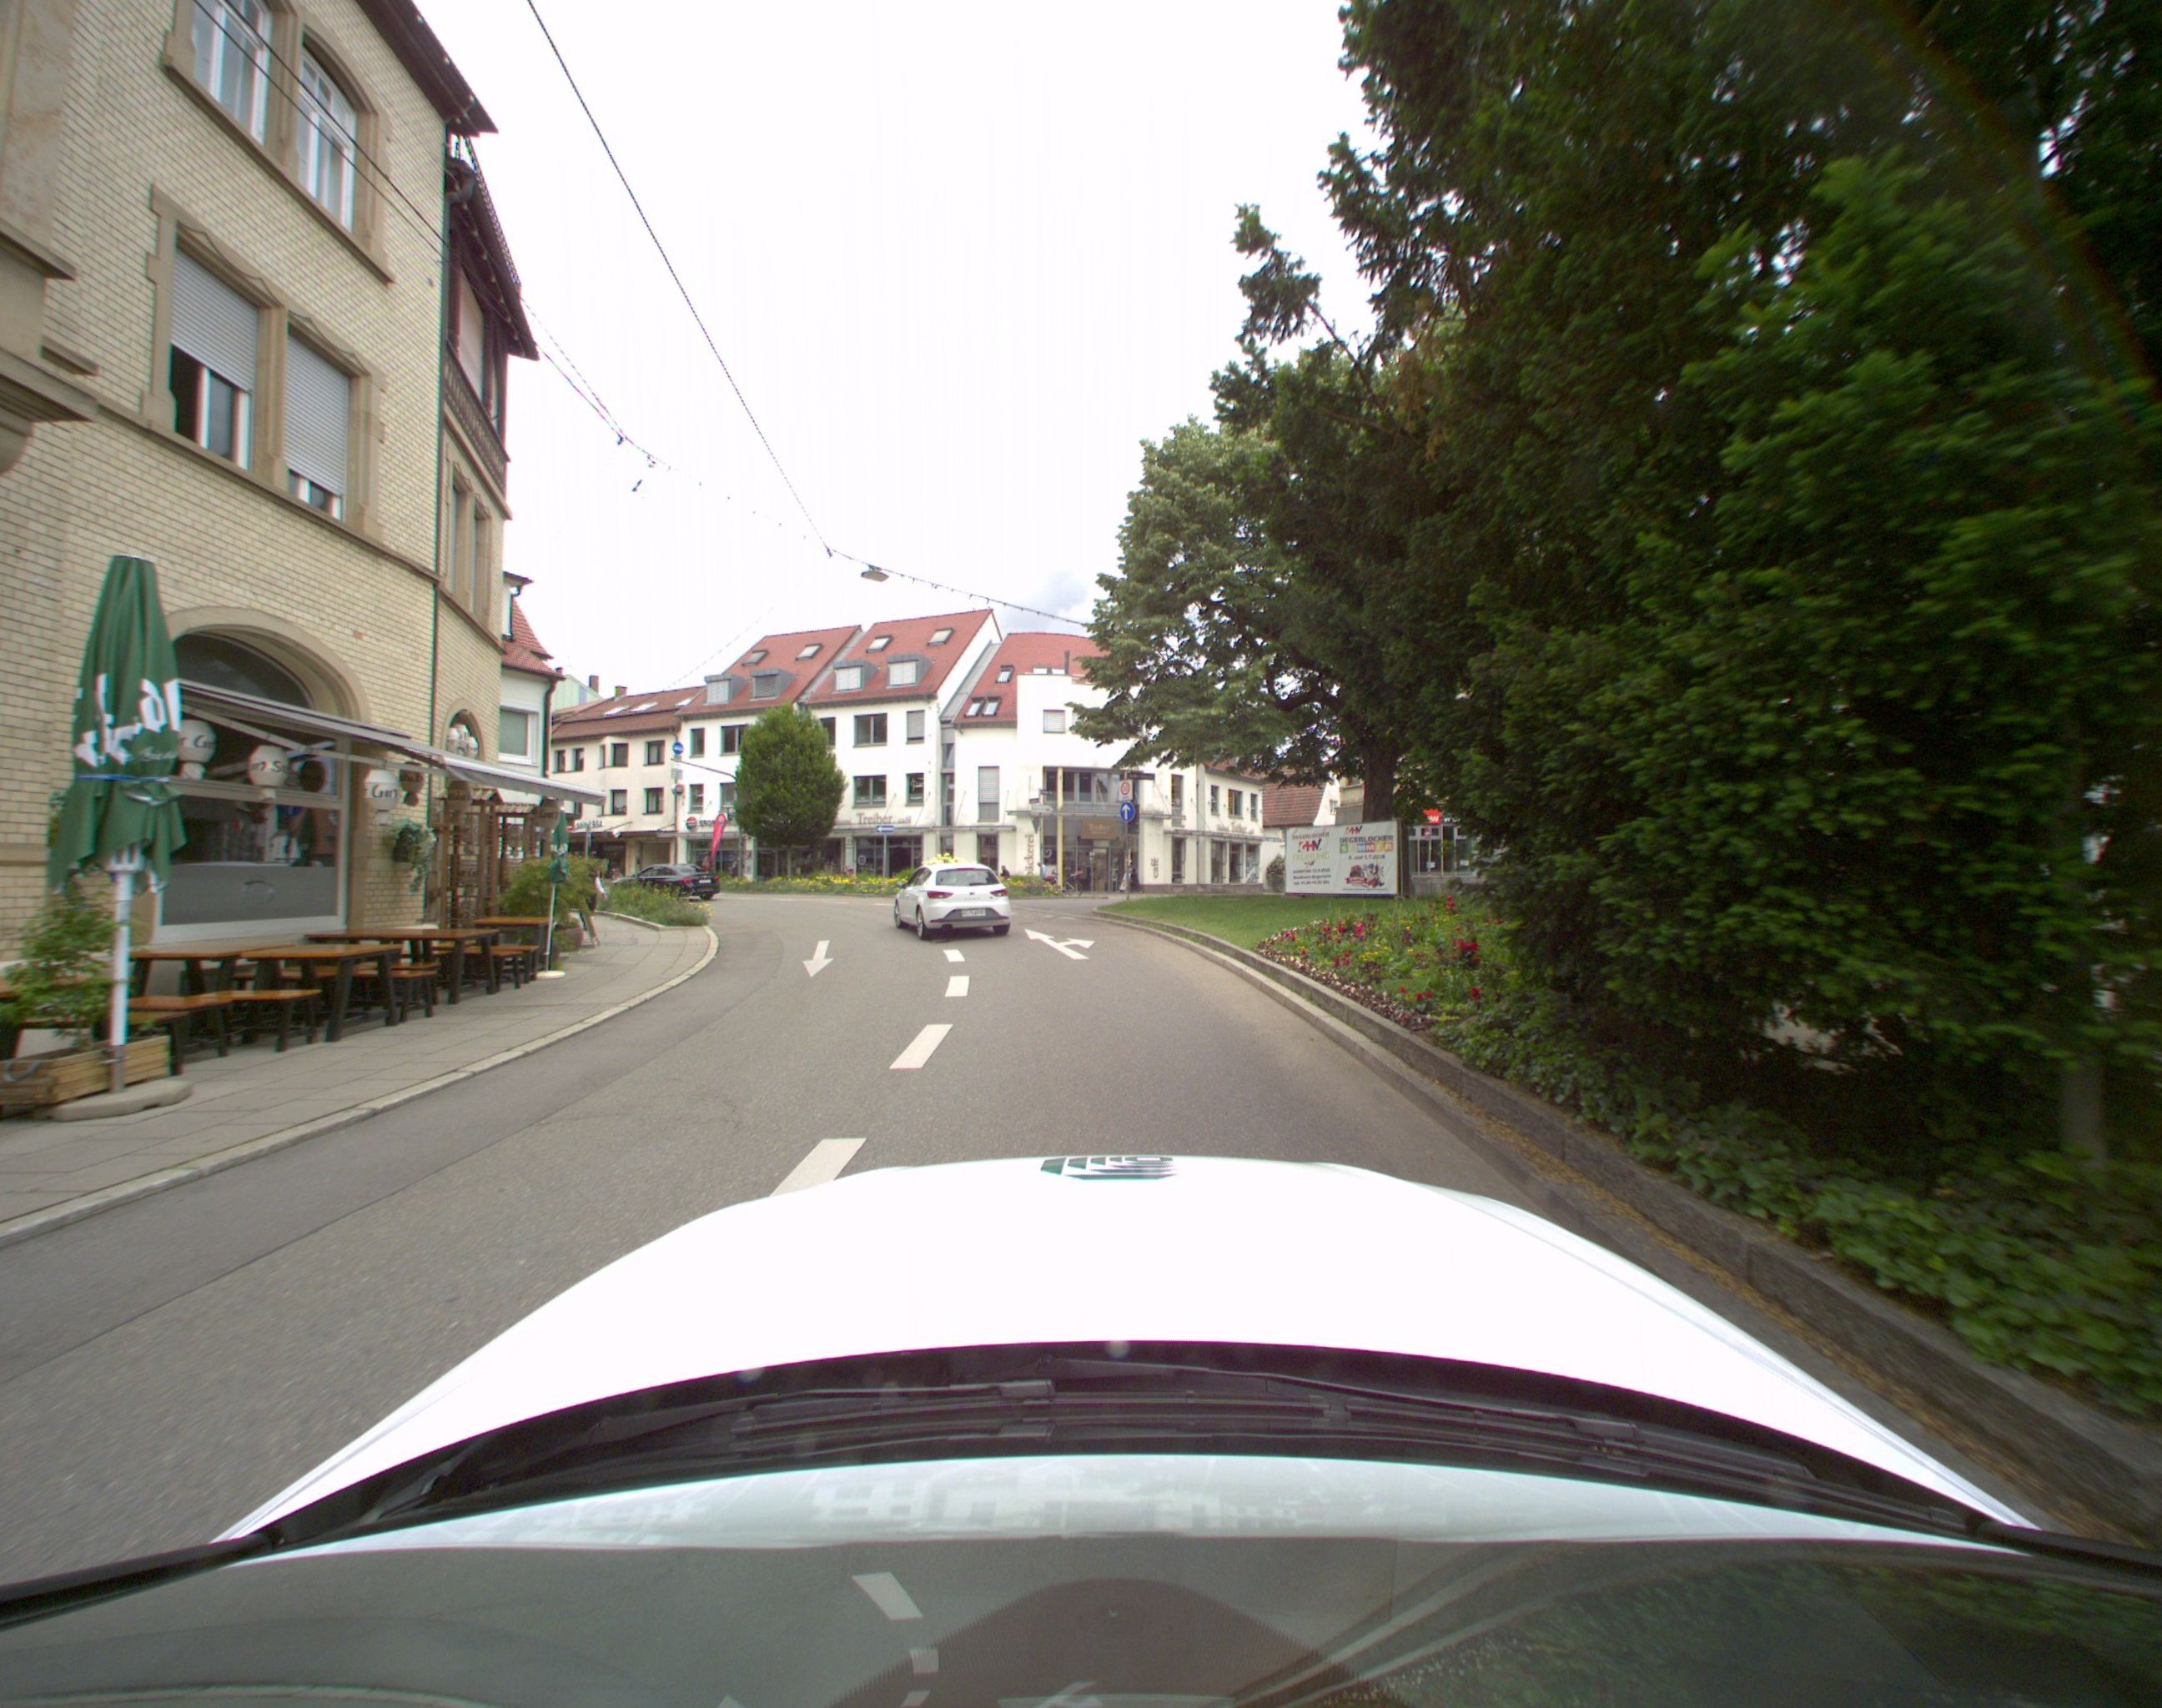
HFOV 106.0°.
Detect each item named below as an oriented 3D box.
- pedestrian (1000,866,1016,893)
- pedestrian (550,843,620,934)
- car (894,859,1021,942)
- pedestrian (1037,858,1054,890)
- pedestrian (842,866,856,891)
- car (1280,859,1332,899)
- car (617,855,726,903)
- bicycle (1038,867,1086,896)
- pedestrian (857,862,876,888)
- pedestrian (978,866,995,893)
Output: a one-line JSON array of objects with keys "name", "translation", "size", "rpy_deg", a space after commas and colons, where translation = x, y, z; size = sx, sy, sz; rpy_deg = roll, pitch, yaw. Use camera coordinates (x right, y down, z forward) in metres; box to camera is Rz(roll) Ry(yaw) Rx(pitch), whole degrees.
[{"name": "pedestrian", "translation": [-3.574, 1.242, 39.887], "size": [0.651, 1.341, 0.697], "rpy_deg": [0, -1, 7]}, {"name": "pedestrian", "translation": [-11.411, 0.766, 18.738], "size": [1.001, 2.014, 1.113], "rpy_deg": [0, -1, 41]}, {"name": "car", "translation": [-2.689, 0.863, 16.976], "size": [1.850, 1.434, 3.973], "rpy_deg": [0, 0, -20]}, {"name": "pedestrian", "translation": [-1.689, 0.942, 39.040], "size": [0.697, 1.525, 0.869], "rpy_deg": [0, -1, 7]}, {"name": "pedestrian", "translation": [-12.137, 1.277, 42.540], "size": [0.486, 1.271, 0.504], "rpy_deg": [0, -1, 20]}, {"name": "car", "translation": [10.892, 1.183, 39.212], "size": [1.809, 1.792, 4.241], "rpy_deg": [0, -2, 23]}, {"name": "car", "translation": [-15.547, 0.893, 30.830], "size": [4.317, 1.675, 2.054], "rpy_deg": [1, 0, 39]}, {"name": "bicycle", "translation": [-0.822, 1.202, 35.676], "size": [1.958, 1.240, 0.747], "rpy_deg": [0, -1, 19]}, {"name": "pedestrian", "translation": [-11.085, 1.095, 42.131], "size": [0.561, 1.318, 0.768], "rpy_deg": [0, -3, 20]}, {"name": "pedestrian", "translation": [-4.665, 1.260, 40.104], "size": [0.697, 1.332, 0.686], "rpy_deg": [0, -1, 7]}]
